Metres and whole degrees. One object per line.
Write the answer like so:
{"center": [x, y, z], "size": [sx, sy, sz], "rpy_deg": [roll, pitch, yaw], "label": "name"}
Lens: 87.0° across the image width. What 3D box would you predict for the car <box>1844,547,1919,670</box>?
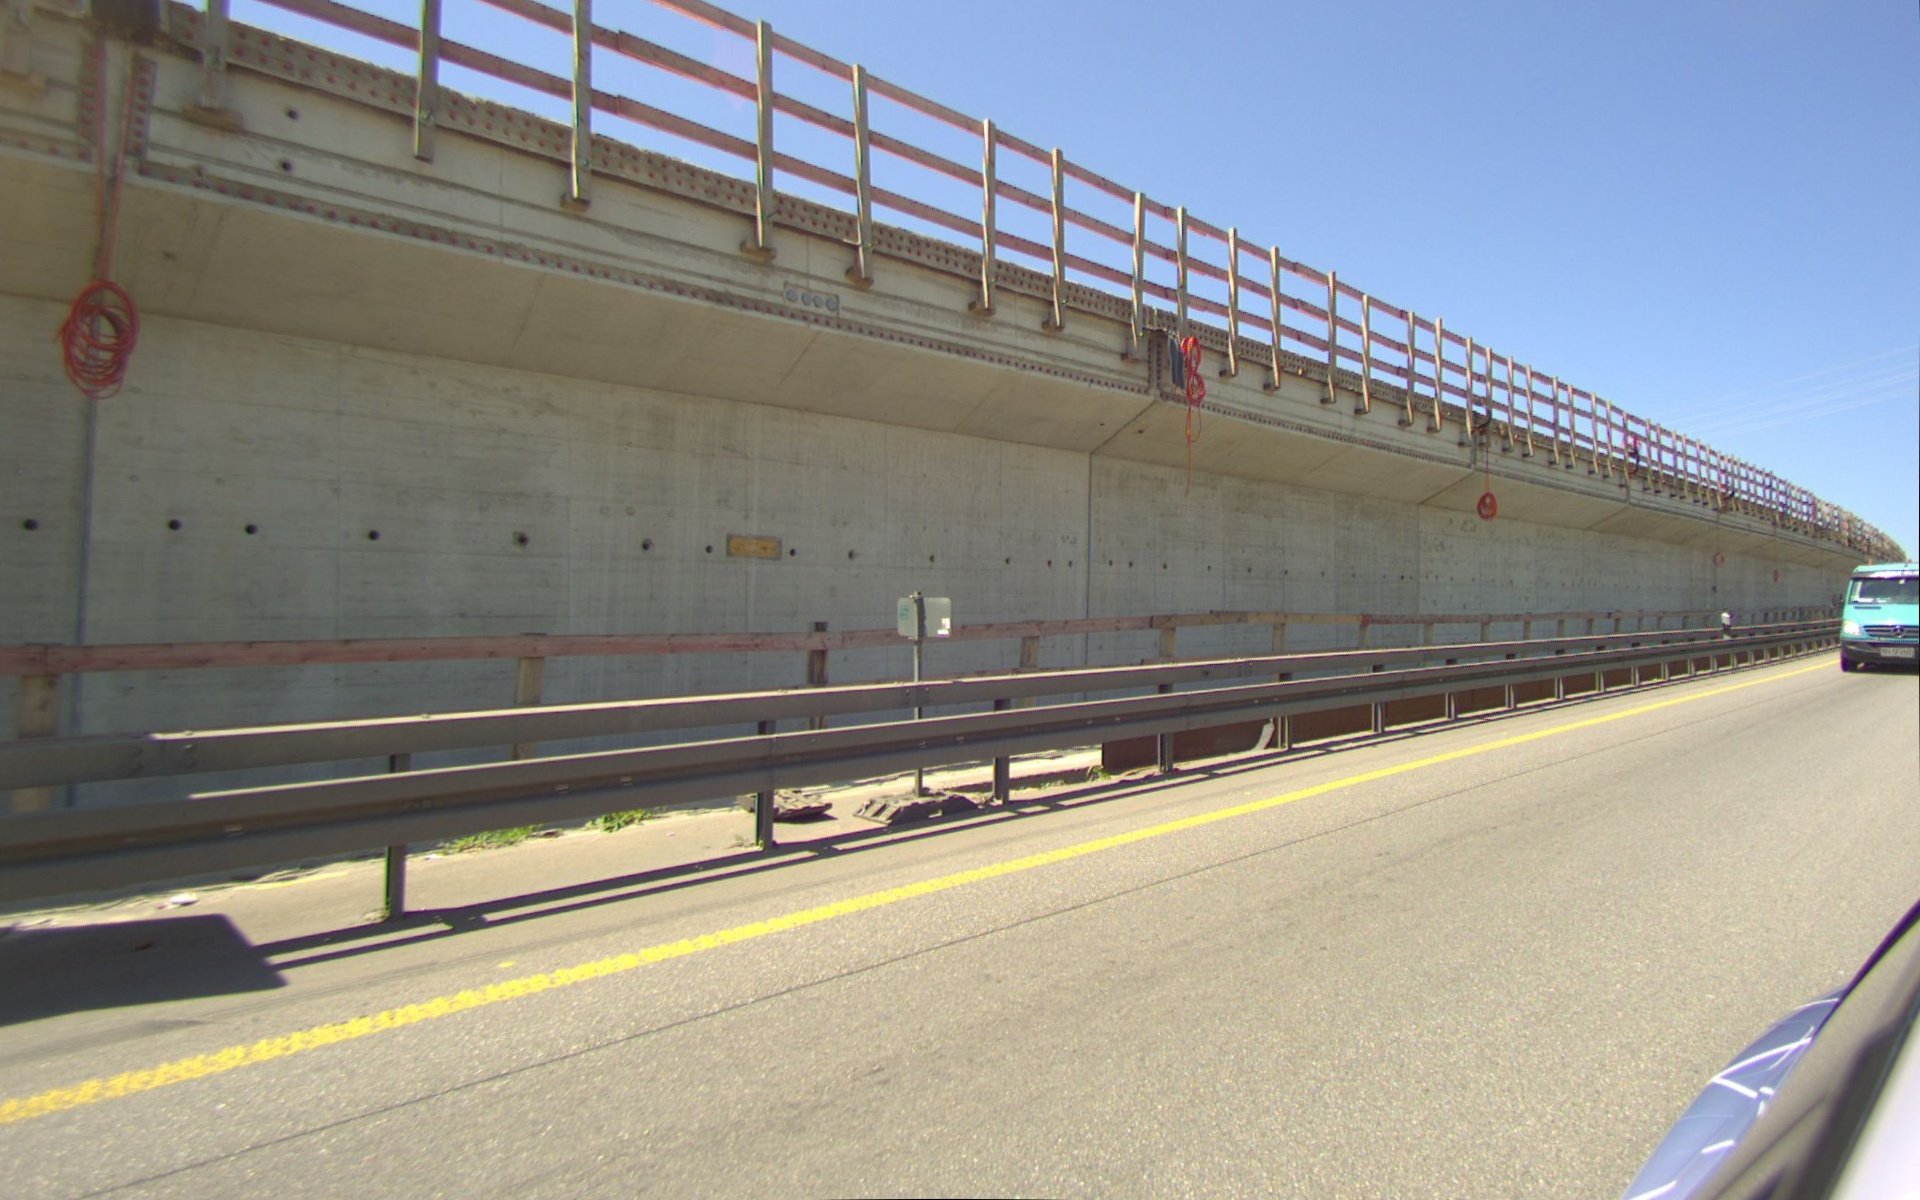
{"center": [21.460, 0.134, 22.334], "size": [7.085, 2.411, 1.966], "rpy_deg": [-1, -1, -41], "label": "car"}
